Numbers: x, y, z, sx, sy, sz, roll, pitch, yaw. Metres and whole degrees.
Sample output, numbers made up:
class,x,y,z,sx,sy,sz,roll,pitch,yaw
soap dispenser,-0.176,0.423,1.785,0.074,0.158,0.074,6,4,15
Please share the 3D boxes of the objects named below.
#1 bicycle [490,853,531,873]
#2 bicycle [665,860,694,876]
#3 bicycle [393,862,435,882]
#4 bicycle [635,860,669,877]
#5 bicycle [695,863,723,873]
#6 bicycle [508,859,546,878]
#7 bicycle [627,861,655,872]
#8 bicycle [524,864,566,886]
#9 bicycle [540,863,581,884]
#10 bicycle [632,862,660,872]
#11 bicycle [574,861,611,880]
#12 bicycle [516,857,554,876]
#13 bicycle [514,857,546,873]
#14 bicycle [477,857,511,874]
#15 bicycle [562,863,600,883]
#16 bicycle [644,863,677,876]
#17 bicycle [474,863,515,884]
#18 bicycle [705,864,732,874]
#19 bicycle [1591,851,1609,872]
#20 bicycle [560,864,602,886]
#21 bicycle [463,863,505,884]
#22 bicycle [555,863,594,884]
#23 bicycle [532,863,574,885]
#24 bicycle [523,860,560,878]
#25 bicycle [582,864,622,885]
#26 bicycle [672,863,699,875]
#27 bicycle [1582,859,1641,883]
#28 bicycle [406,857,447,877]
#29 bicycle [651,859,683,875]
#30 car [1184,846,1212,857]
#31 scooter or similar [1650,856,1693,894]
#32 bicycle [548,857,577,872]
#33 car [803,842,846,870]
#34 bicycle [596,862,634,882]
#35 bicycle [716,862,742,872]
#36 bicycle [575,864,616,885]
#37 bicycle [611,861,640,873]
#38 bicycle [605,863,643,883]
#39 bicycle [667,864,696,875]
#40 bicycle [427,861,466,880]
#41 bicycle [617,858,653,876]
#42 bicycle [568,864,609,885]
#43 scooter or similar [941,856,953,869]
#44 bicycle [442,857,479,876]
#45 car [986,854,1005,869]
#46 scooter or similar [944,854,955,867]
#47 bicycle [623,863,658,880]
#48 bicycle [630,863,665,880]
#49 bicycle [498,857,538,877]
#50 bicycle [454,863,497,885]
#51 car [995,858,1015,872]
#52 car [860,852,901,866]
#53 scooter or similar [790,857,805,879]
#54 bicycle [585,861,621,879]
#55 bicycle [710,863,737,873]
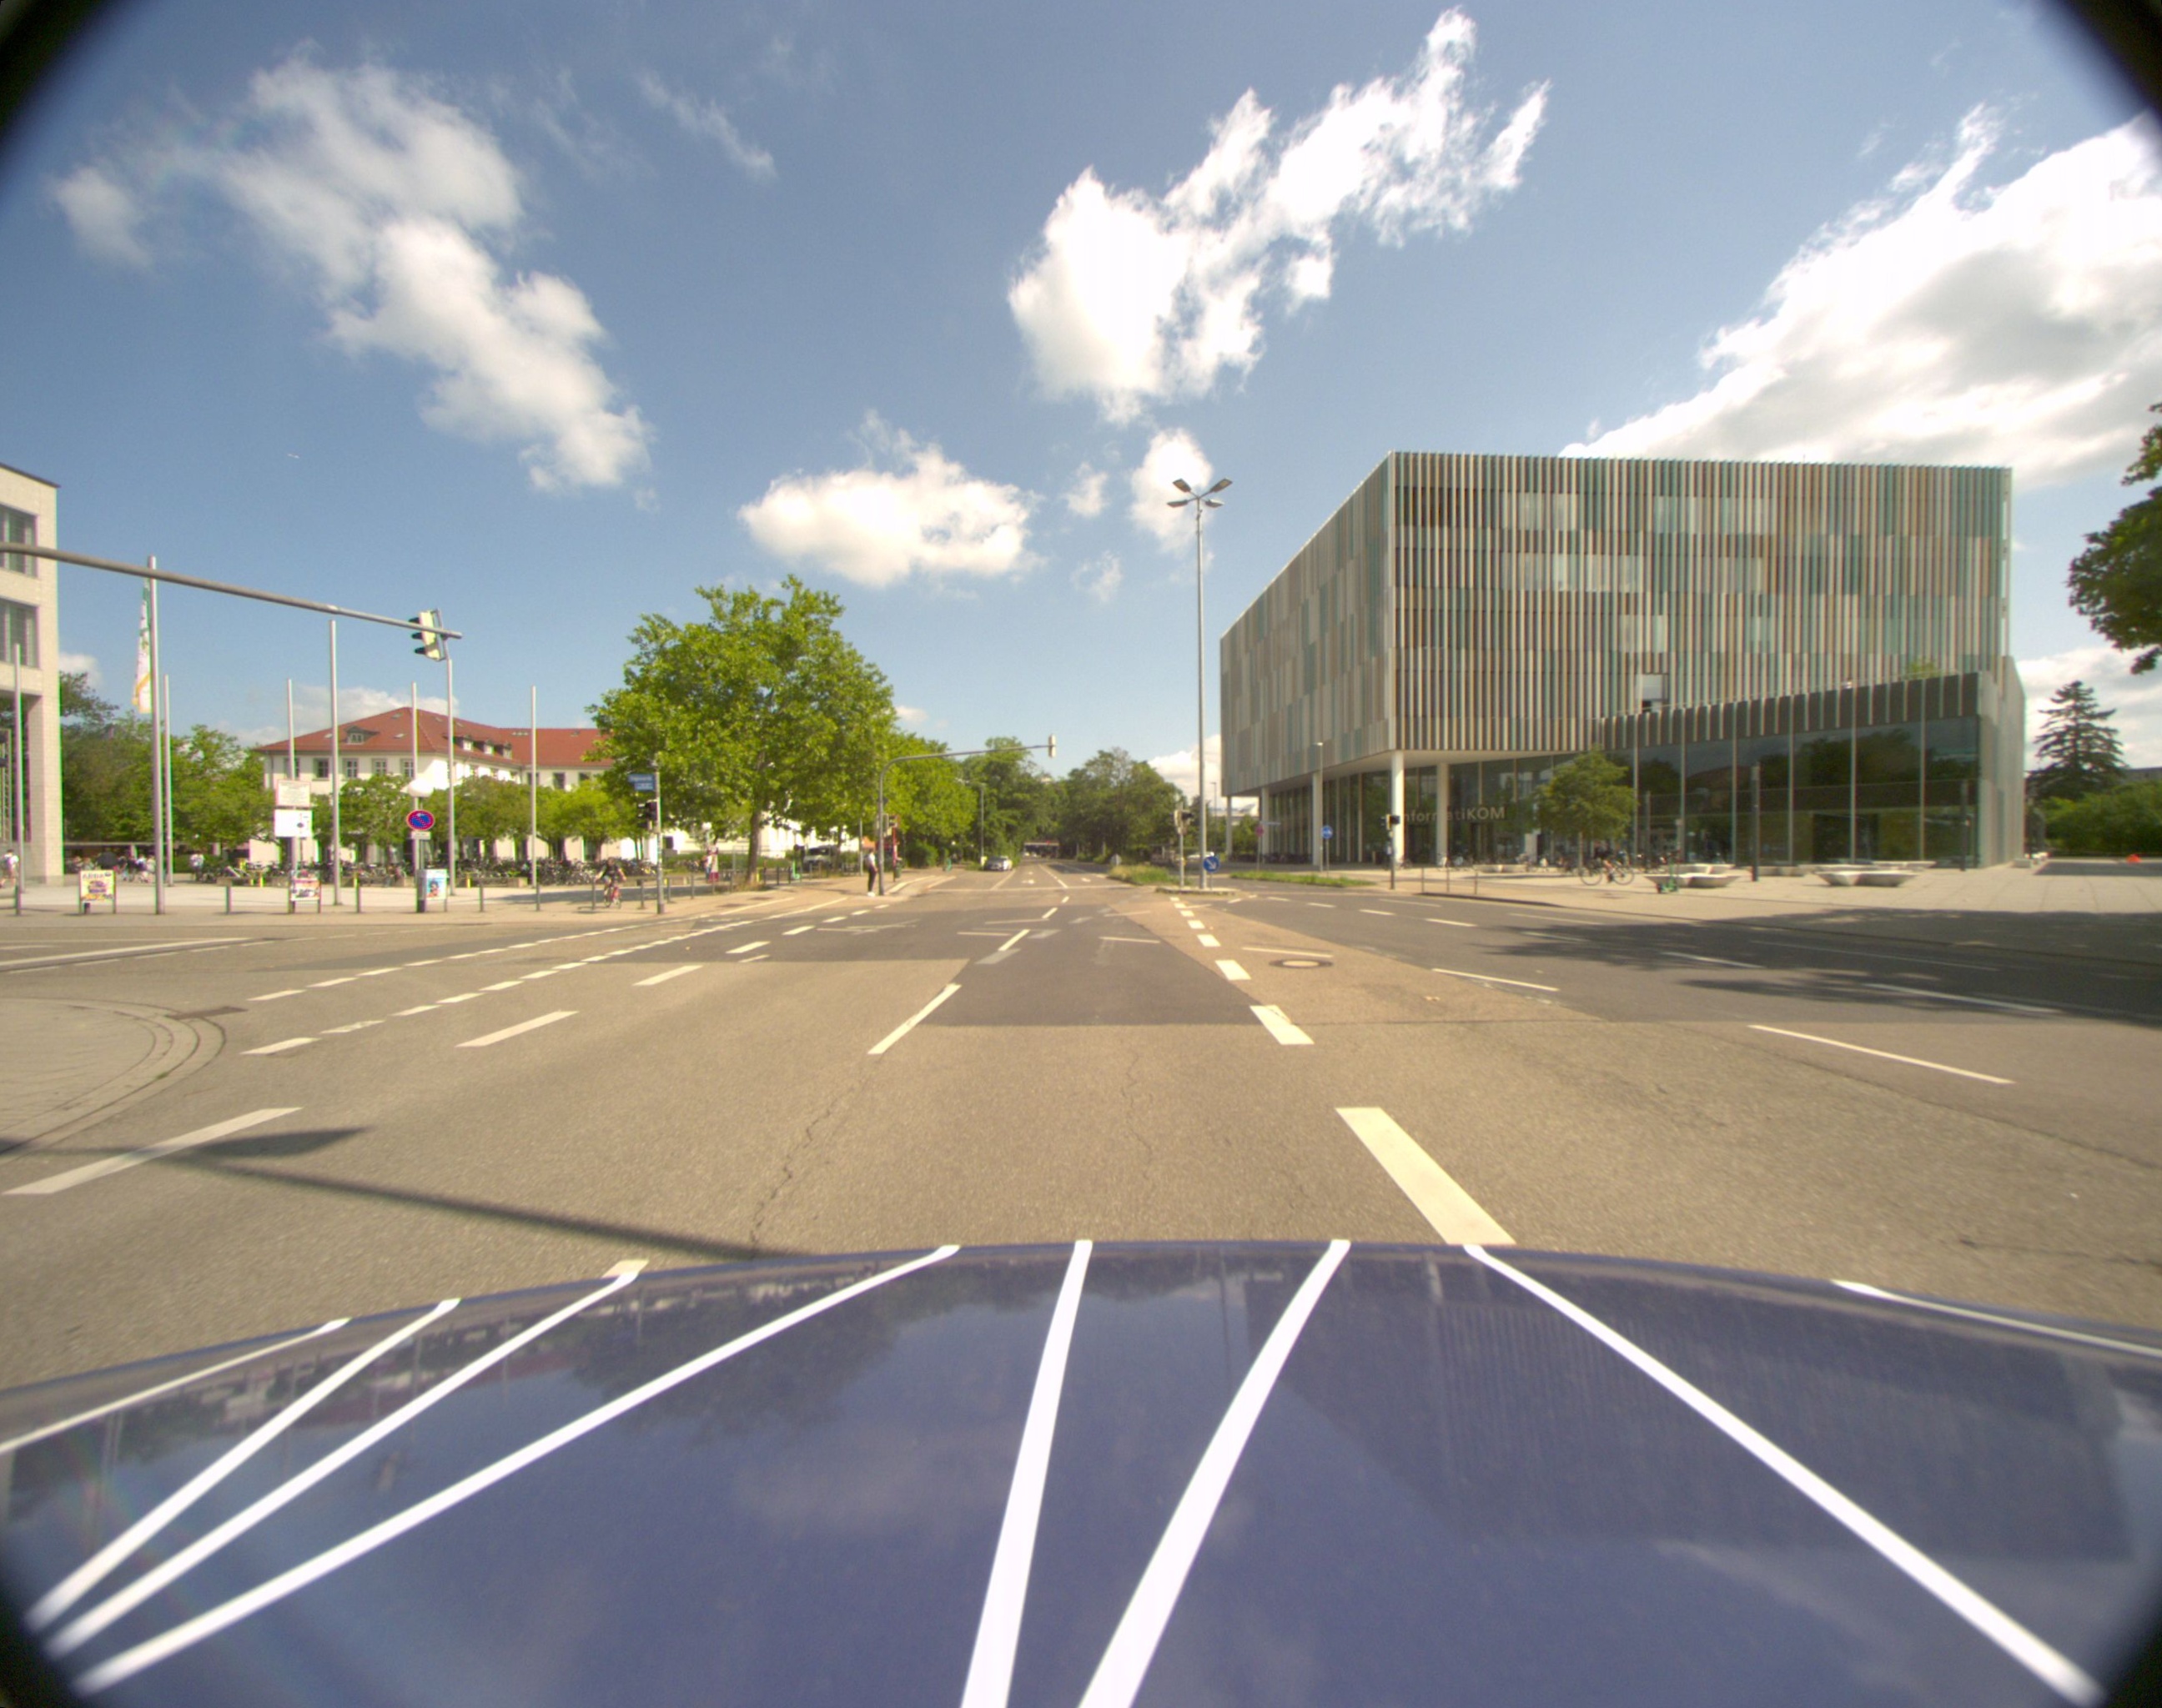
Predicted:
class,x,y,z,sx,sy,sz,roll,pitch,yaw
bicycle,-31.713,0.479,42.249,1.673,1.090,0.626,-1,1,-8
bicycle,-28.300,0.987,53.599,1.673,1.090,0.626,-1,1,-8
bicycle,-37.649,0.993,42.901,1.673,1.090,0.626,-1,1,-8
bicycle,-26.430,0.894,46.852,1.673,0.960,0.626,-1,1,-8
bicycle,-26.937,1.014,55.001,1.673,0.729,0.626,-1,1,-8
bicycle,-31.997,0.821,43.918,1.673,1.090,0.626,-1,1,-8
bicycle,-33.041,0.957,57.070,1.673,0.785,0.626,-1,1,-8
bicycle,-27.695,1.090,39.278,1.673,1.090,0.626,-1,1,-8
bicycle,-27.880,1.023,40.734,1.673,1.090,0.626,-1,1,-8
bicycle,-33.153,0.986,57.918,1.673,0.785,0.626,-1,1,-8
bicycle,-28.593,0.965,44.509,1.673,1.090,0.626,-1,1,-8
bicycle,-32.054,0.745,44.623,1.673,1.090,0.626,-1,1,-8
bicycle,-38.791,0.804,53.516,1.673,1.090,0.626,-1,1,-8
bicycle,-38.794,0.743,50.222,1.673,1.090,0.626,-1,1,-8
bicycle,-28.235,1.046,42.915,1.673,1.090,0.626,-1,1,-8
bicycle,-26.708,0.952,48.273,1.673,0.785,0.626,-1,1,-8
bicycle,-32.026,1.042,41.517,1.673,1.090,0.626,-1,1,-8
bicycle,-26.835,1.106,56.238,1.673,0.729,0.626,-1,1,-8
bicycle,29.135,0.414,42.673,0.745,1.131,2.323,0,1,37
bicycle,-25.789,1.084,39.235,1.673,1.090,0.626,-1,1,-8
bicycle,-31.988,1.023,40.725,1.673,1.090,0.626,-1,1,-8
bicycle,-28.081,1.085,42.135,1.673,1.090,0.626,-1,1,-8
bicycle,-27.789,1.044,39.998,1.673,1.090,0.626,-1,1,-8
bicycle,-32.170,0.890,45.322,1.673,1.090,0.626,-1,1,-8
bicycle,-25.969,1.103,41.208,1.673,1.090,0.626,-1,1,-8
bicycle,-28.926,1.094,55.570,1.673,0.785,0.626,-1,1,-10
bicycle,19.968,0.633,28.641,1.771,0.887,0.639,0,1,31
bicycle,-37.757,0.743,43.836,1.673,1.090,0.626,-1,1,-8
bicycle,-26.793,0.822,49.189,1.673,1.022,0.626,-1,1,-8
car,18.174,-0.447,117.934,3.997,1.676,1.646,-1,1,-1
scooter or similar,18.490,0.644,23.784,1.505,1.150,0.502,-1,1,-28
bicycle,-38.757,0.795,56.767,1.673,1.090,0.626,-1,1,-8
car,-18.914,0.143,56.217,2.000,2.002,4.899,-1,0,-7
bicycle,-25.818,0.984,42.096,1.673,1.090,0.626,-1,1,-8
bicycle,-26.823,1.019,57.935,1.673,0.729,0.626,-1,1,-8
bicycle,-25.889,1.088,40.532,1.673,1.090,0.626,-1,1,-8
bicycle,-32.963,0.941,54.965,1.673,0.785,0.626,-1,1,-8
bicycle,-25.947,1.053,43.155,1.673,1.090,0.626,-1,1,-8
bicycle,-28.855,1.133,54.882,1.673,0.785,0.626,-1,1,-10
bicycle,-37.818,0.953,45.324,1.673,1.090,0.626,-1,1,-8
bicycle,-26.294,0.741,44.832,1.673,1.029,0.626,-1,1,-8
bicycle,-25.829,1.078,39.882,1.673,1.090,0.626,-1,1,-8
scooter or similar,-11.793,0.734,67.072,0.518,1.065,1.371,-1,1,13
bicycle,-37.830,0.760,46.334,1.673,1.090,0.626,-1,1,-8
car,-7.958,0.661,70.935,1.709,1.321,3.997,2,0,-6
scooter or similar,-11.177,0.569,64.636,0.518,1.071,1.441,-1,1,5
bicycle,-26.376,1.037,45.509,1.673,0.979,0.626,-1,1,-8
bicycle,-26.343,1.044,46.192,1.673,0.967,0.626,-1,1,-8
bicycle,-31.829,0.735,42.969,1.673,1.090,0.626,-1,1,-8
bicycle,-31.925,1.052,40.070,1.673,1.090,0.626,-1,1,-8
car,-7.626,1.109,76.667,1.560,1.335,4.000,2,0,0
car,-20.761,0.490,78.879,4.001,1.416,1.756,-1,1,-11
scooter or similar,-14.813,0.747,39.696,0.348,1.122,1.167,-1,1,-2
bicycle,-28.906,0.964,45.964,1.673,1.090,0.626,-1,1,-8
bicycle,-26.909,1.033,57.182,1.673,0.729,0.626,-1,1,-8
